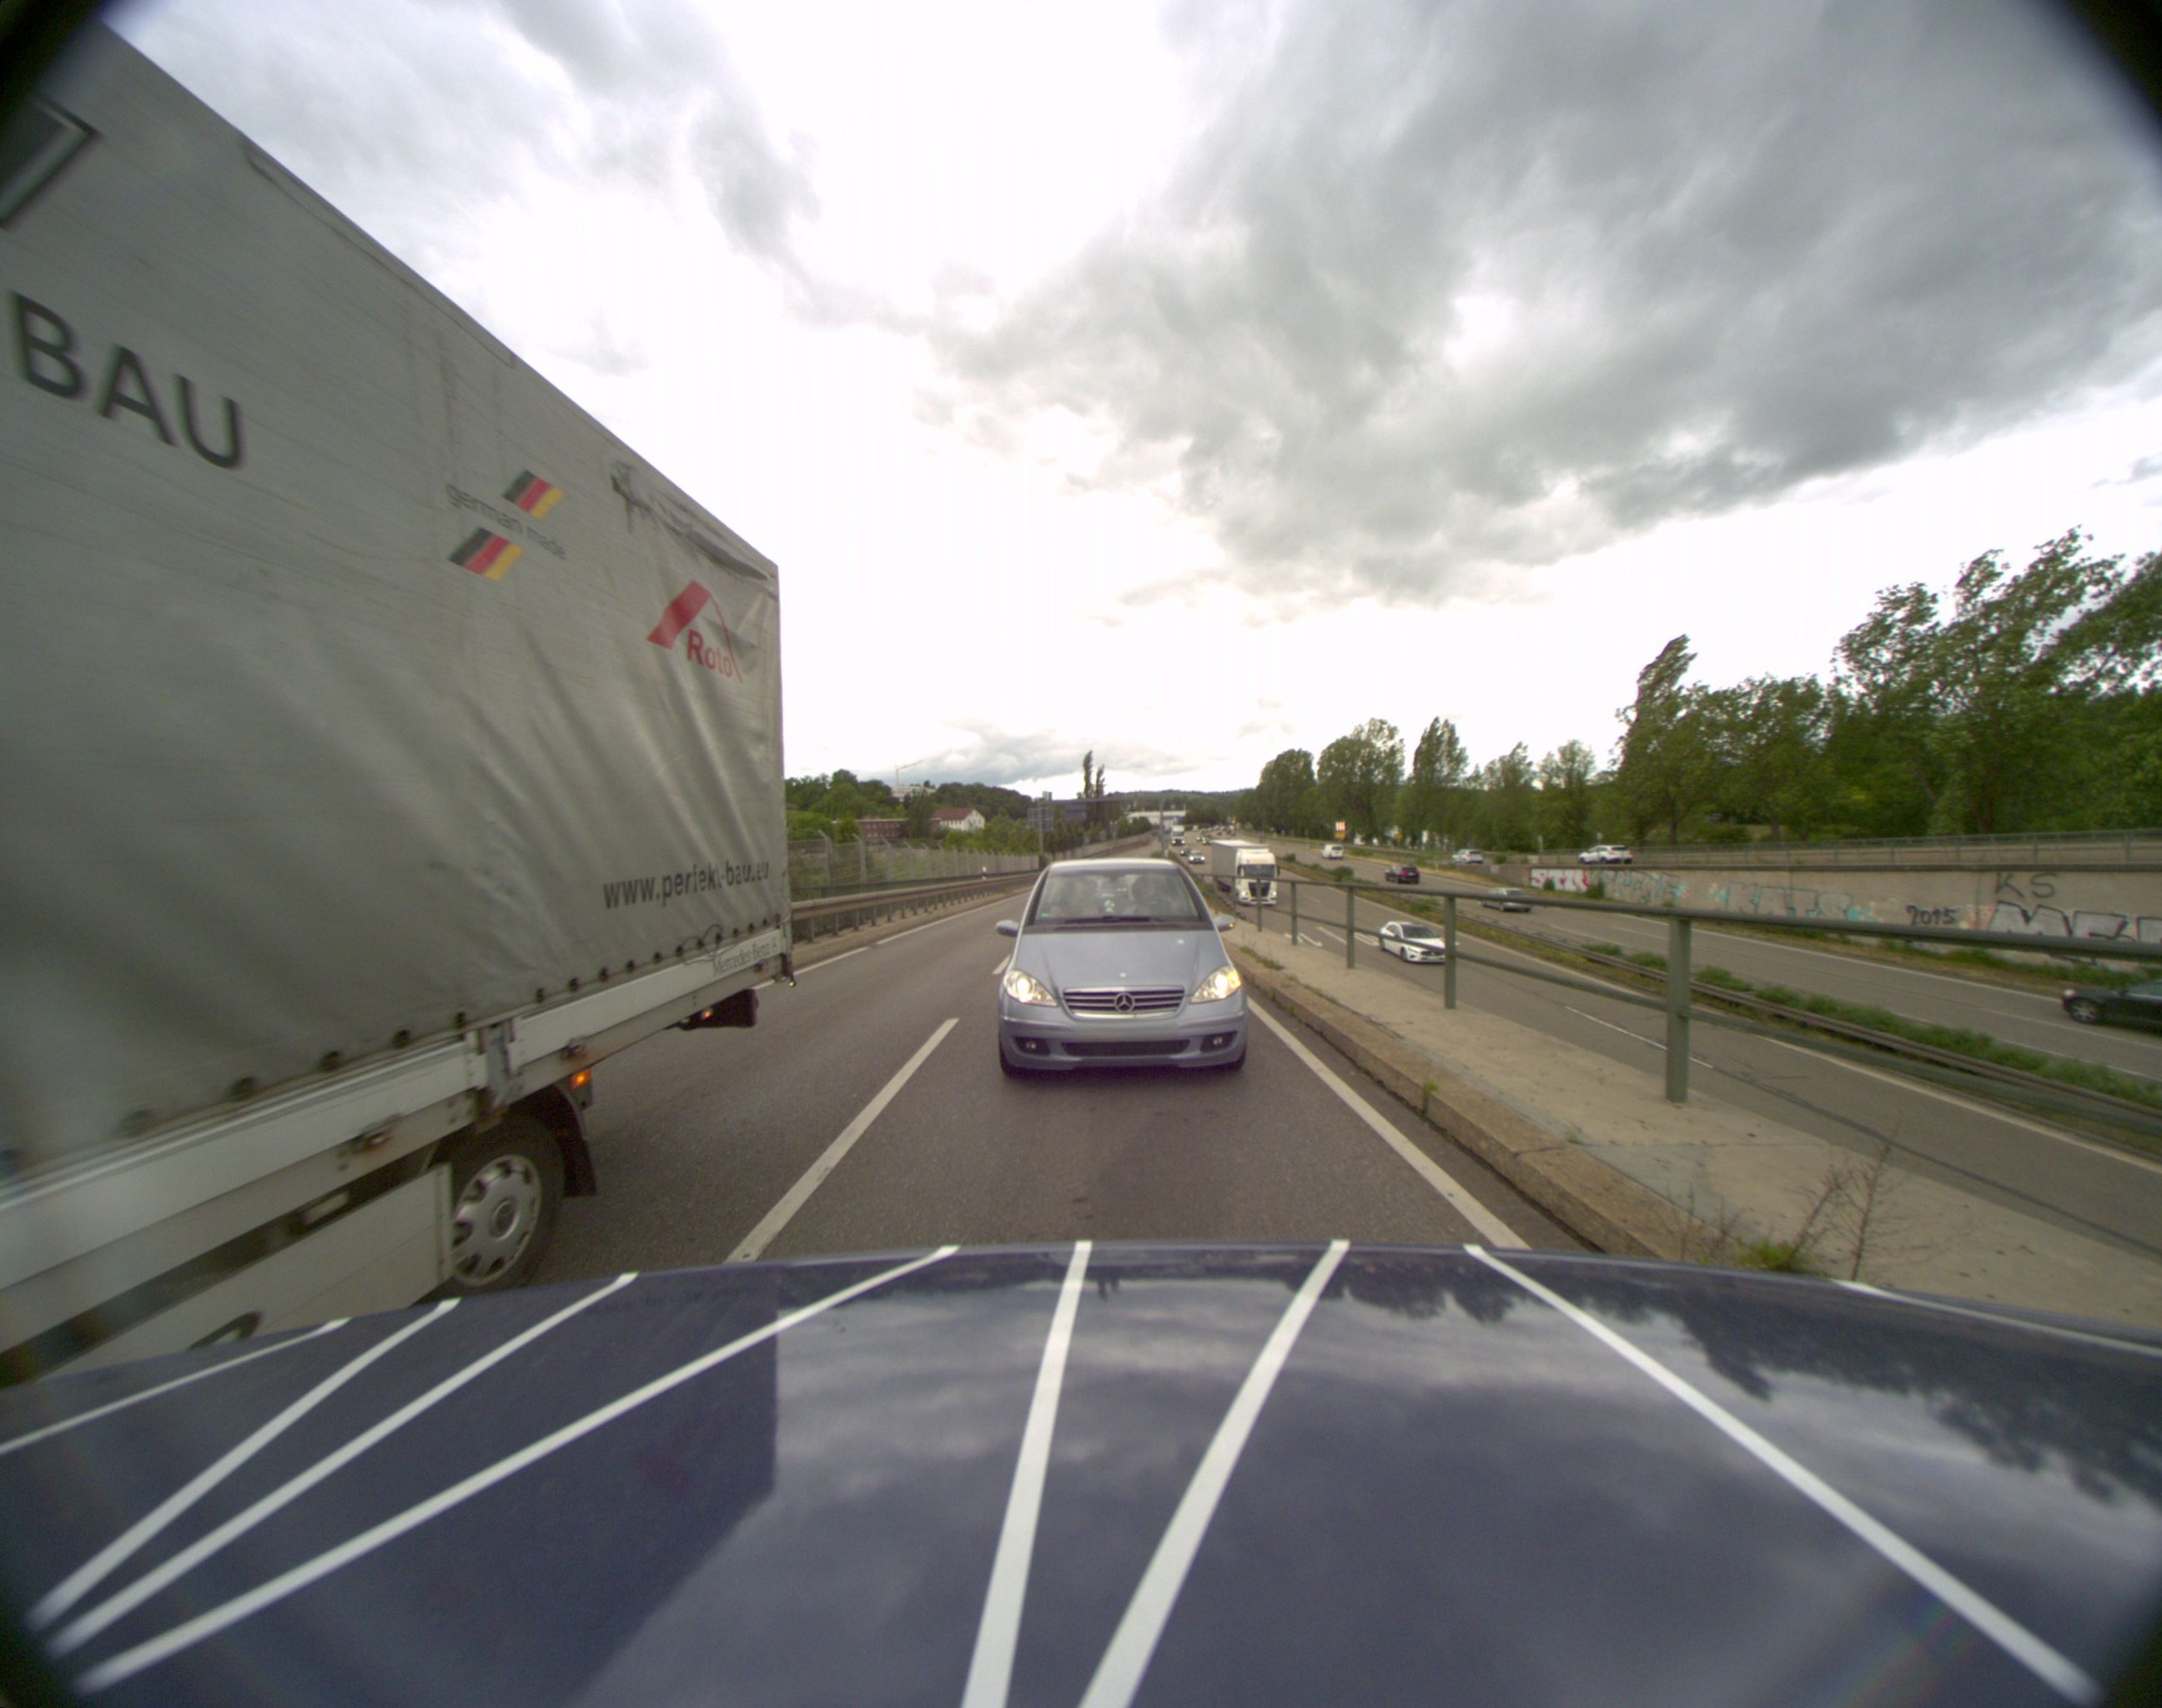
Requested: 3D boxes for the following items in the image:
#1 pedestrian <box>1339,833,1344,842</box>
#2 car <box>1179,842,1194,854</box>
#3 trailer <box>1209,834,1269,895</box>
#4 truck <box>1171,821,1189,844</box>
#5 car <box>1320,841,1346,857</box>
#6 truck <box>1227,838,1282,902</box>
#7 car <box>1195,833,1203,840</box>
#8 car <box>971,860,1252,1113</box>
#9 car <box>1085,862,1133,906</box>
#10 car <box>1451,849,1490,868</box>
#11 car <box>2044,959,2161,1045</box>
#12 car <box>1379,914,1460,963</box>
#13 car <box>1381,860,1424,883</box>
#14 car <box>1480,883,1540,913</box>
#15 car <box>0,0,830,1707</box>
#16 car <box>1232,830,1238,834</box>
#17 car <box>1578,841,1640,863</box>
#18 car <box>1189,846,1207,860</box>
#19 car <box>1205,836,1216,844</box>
[{"bbox_3d":[53.151,-3.327,155.038,0.831,1.696,1.077,-2,4,3],"label":"pedestrian"},{"bbox_3d":[16.400,-0.941,118.196,1.858,1.598,4.164,3,3,2],"label":"car"},{"bbox_3d":[12.824,0.604,63.099,2.758,4.228,13.146,0,3,2],"label":"trailer"},{"bbox_3d":[21.081,-4.708,162.690,3.179,4.501,11.121,-1,3,4],"label":"truck"},{"bbox_3d":[34.836,-0.714,104.968,1.998,2.056,5.175,-2,3,2],"label":"car"},{"bbox_3d":[12.519,1.039,55.365,2.758,4.228,6.695,0,3,2],"label":"truck"},{"bbox_3d":[29.781,-4.388,191.274,1.857,1.598,4.166,-1,3,7],"label":"car"},{"bbox_3d":[0.283,0.885,6.926,1.780,1.578,4.001,-1,0,3],"label":"car"},{"bbox_3d":[1.233,1.180,31.325,1.780,1.578,4.001,-1,0,4],"label":"car"},{"bbox_3d":[41.553,0.482,81.181,1.998,1.859,4.213,-1,0,1],"label":"car"},{"bbox_3d":[30.079,4.207,20.743,1.936,1.831,4.408,-1,3,1],"label":"car"},{"bbox_3d":[14.781,3.658,33.467,1.919,1.411,4.275,-1,4,4],"label":"car"},{"bbox_3d":[28.967,1.551,68.623,1.920,1.729,4.550,-1,3,0],"label":"car"},{"bbox_3d":[27.561,2.795,48.967,1.732,1.520,4.086,0,3,4],"label":"car"},{"bbox_3d":[-3.051,0.095,1.285,2.665,3.310,7.090,-2,1,1],"label":"car"},{"bbox_3d":[51.740,-7.487,255.144,1.714,1.368,4.110,0,3,7],"label":"car"},{"bbox_3d":[40.259,-0.136,58.024,1.837,1.567,4.347,-1,0,3],"label":"car"},{"bbox_3d":[15.170,-0.132,98.942,1.858,1.598,4.164,-1,3,2],"label":"car"},{"bbox_3d":[28.100,-3.128,164.644,1.858,1.598,4.165,-2,2,4],"label":"car"}]
